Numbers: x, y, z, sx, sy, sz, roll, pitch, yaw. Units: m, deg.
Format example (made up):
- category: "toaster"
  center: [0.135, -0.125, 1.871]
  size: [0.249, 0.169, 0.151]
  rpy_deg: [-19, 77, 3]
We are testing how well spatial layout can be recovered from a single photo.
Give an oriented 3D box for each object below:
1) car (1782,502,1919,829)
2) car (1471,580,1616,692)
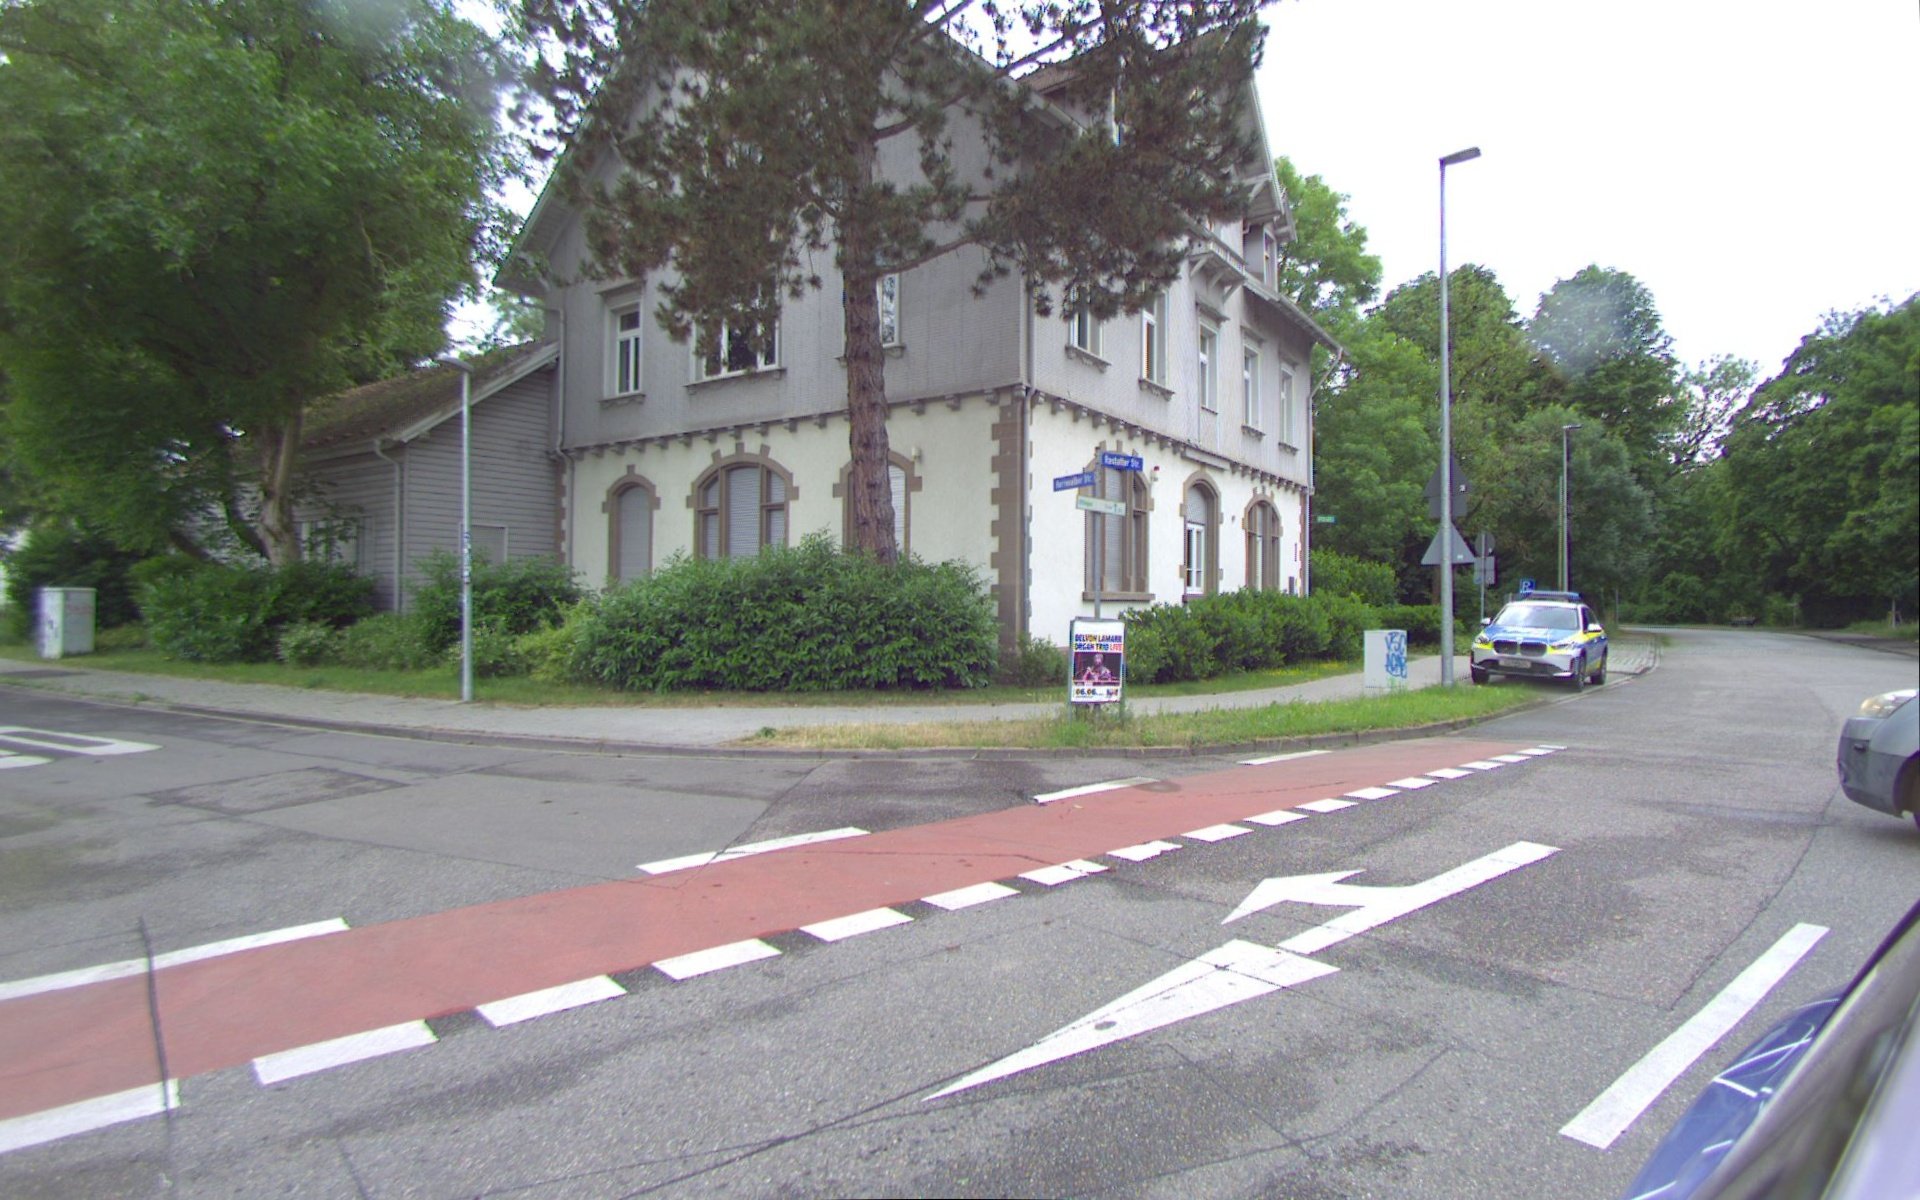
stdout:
- category: "car"
  center: [6.904, 0.392, 4.802]
  size: [2.051, 1.881, 4.231]
  rpy_deg: [0, 0, -17]
- category: "car"
  center: [11.304, 0.610, 19.497]
  size: [1.926, 1.873, 3.947]
  rpy_deg: [3, 1, 37]
